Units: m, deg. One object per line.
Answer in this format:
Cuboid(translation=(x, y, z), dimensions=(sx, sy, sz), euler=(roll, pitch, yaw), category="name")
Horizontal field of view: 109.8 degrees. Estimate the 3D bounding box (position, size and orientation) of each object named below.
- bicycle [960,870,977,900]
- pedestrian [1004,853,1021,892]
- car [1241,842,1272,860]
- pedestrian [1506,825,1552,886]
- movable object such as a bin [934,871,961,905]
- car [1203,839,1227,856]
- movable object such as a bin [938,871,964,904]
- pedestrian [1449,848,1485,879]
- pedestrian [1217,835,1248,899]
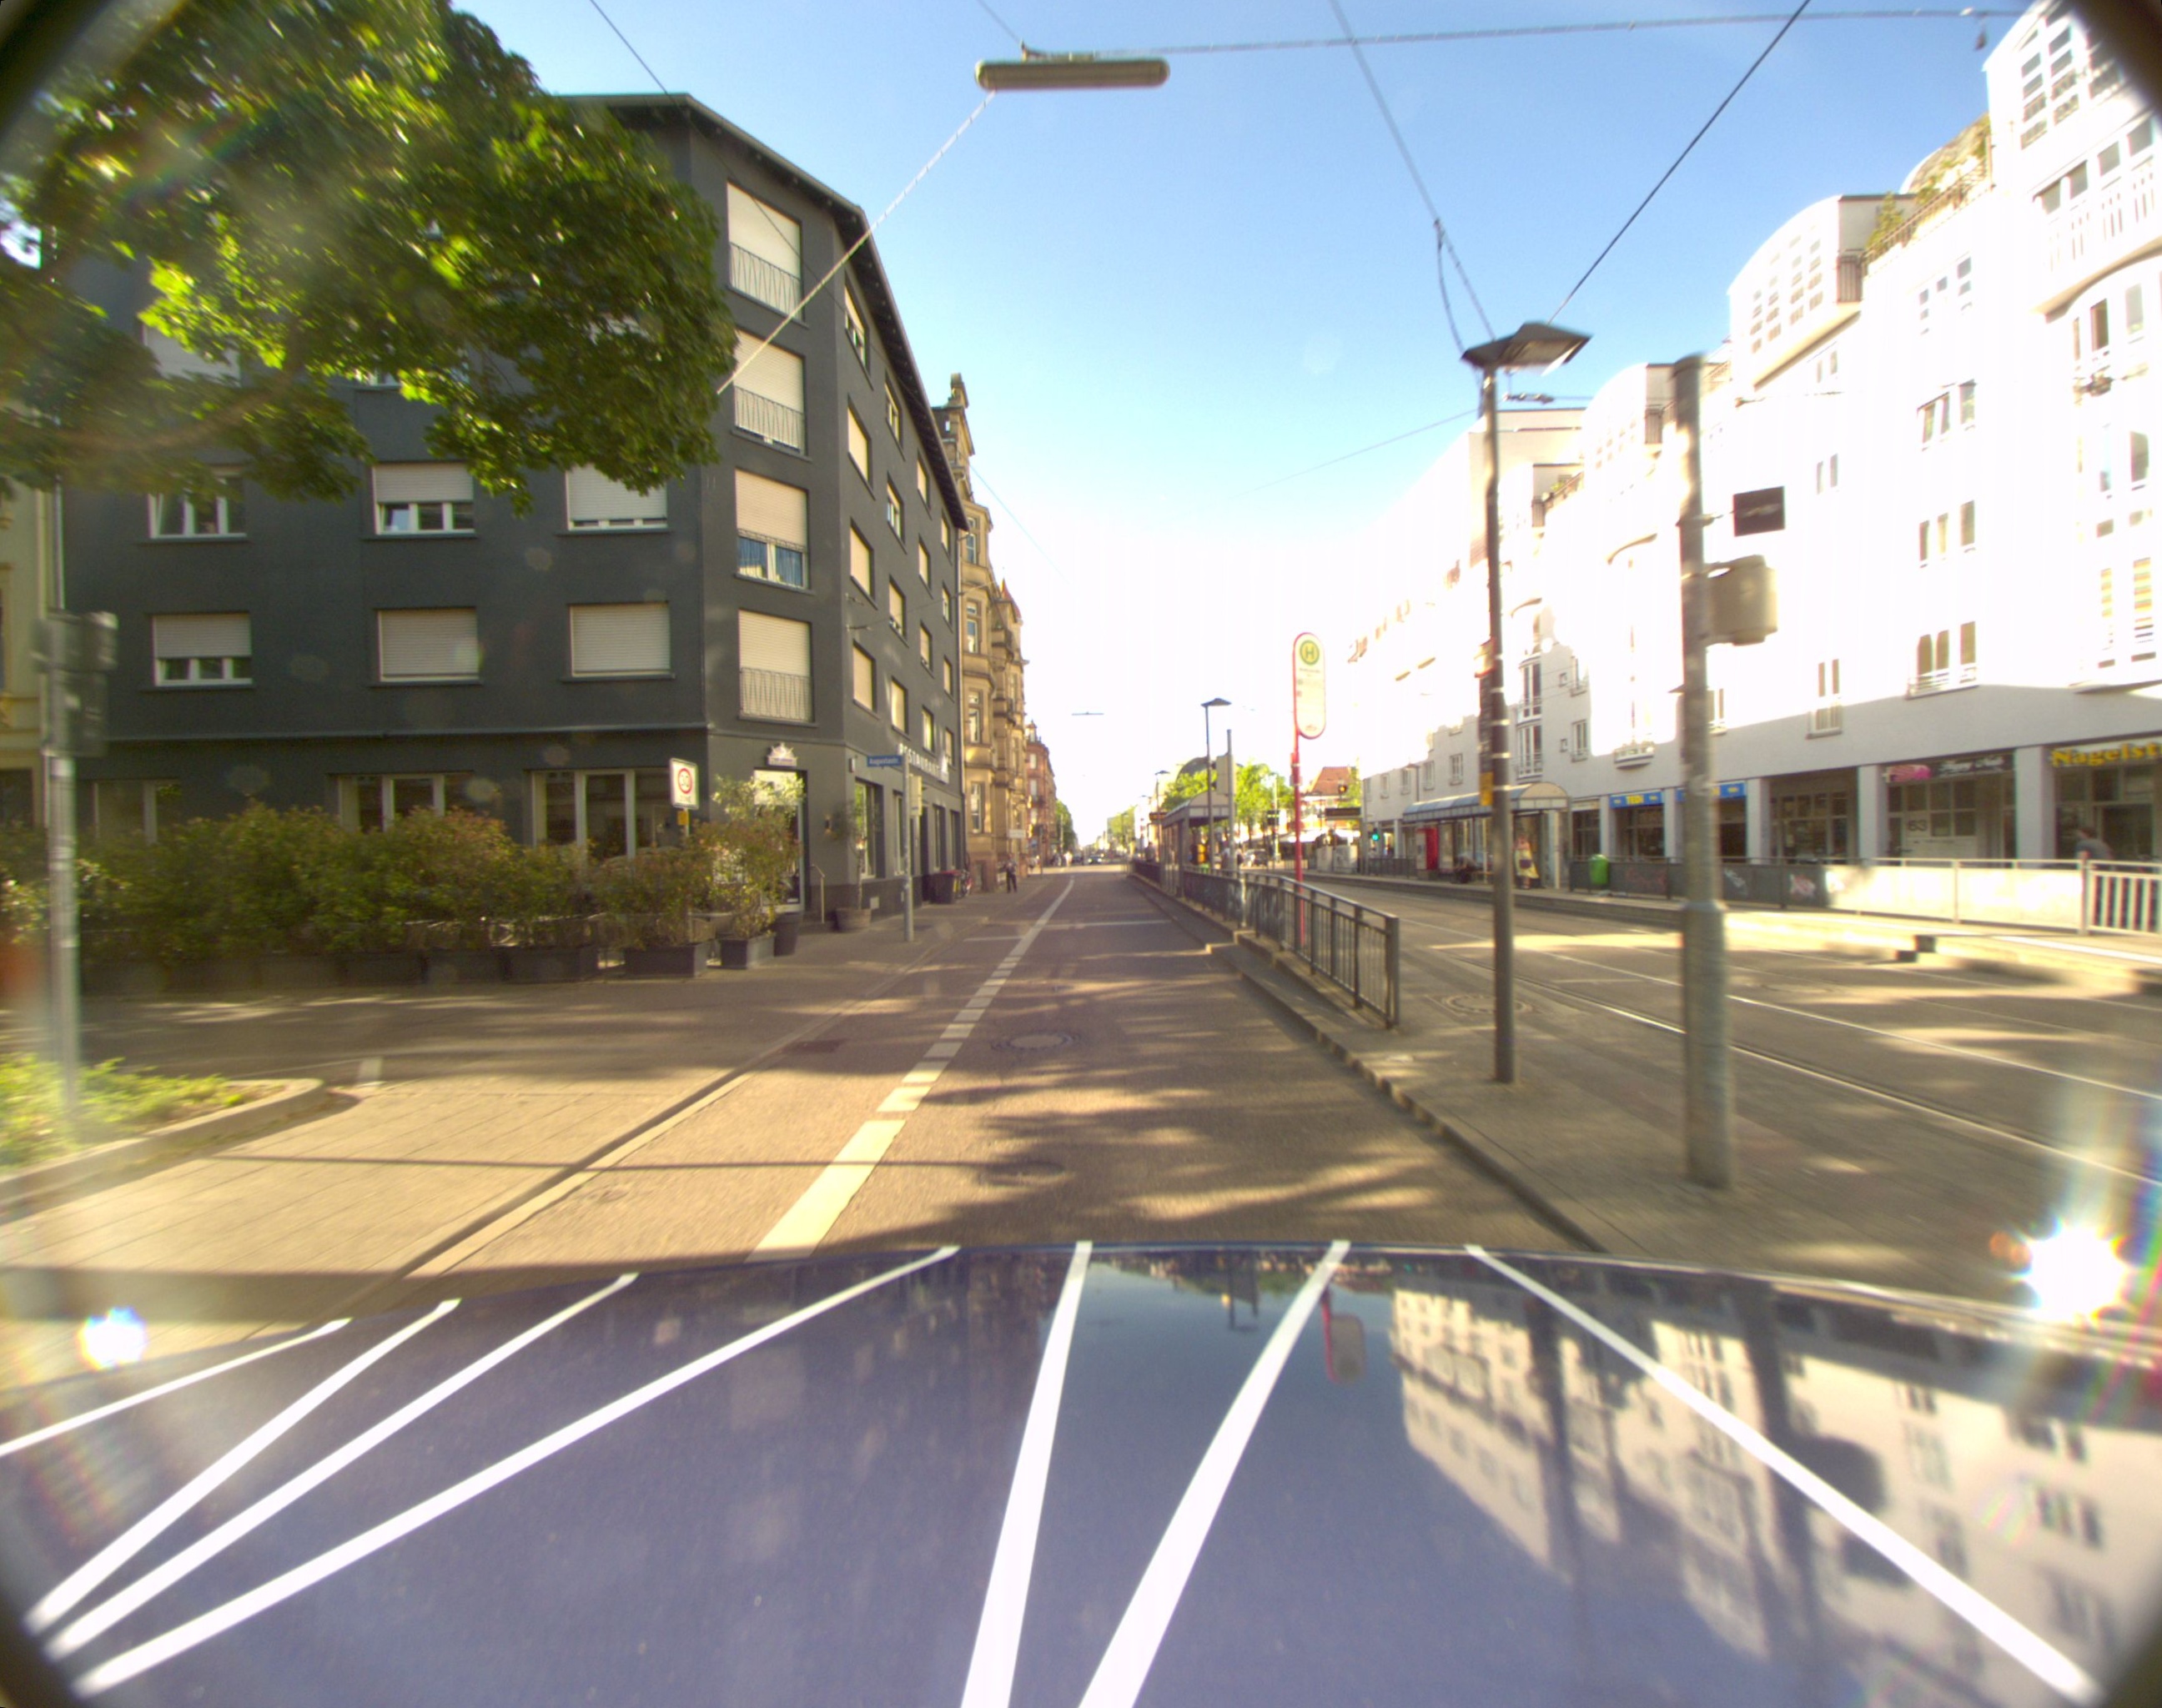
Cuboid(translation=(-4.252, 1.149, 28.770), dimensions=(0.377, 1.052, 1.512), euler=(-2, 0, 1), category="bicycle")
Cuboid(translation=(-3.008, 0.822, 33.423), dimensions=(0.695, 1.680, 0.688), euler=(1, 1, 1), category="pedestrian")
Cuboid(translation=(16.756, -0.315, 72.641), dimensions=(1.998, 1.608, 4.000), euler=(-2, 0, 1), category="car")
Cuboid(translation=(12.335, 0.049, 20.955), dimensions=(0.794, 1.635, 0.747), euler=(-2, 1, 1), category="pedestrian")
Cuboid(translation=(-4.398, 1.127, 25.050), dimensions=(0.717, 1.062, 0.637), euler=(-2, 1, 0), category="movable object such as a bin")
Cuboid(translation=(16.099, -0.797, 91.645), dimensions=(1.999, 1.893, 3.999), euler=(-2, 1, -2), category="car")
Cuboid(translation=(-4.412, 1.131, 25.825), dimensions=(0.717, 1.062, 0.637), euler=(-2, 1, 0), category="movable object such as a bin")
Cuboid(translation=(12.678, 0.319, 24.977), dimensions=(0.794, 0.982, 0.747), euler=(-2, 1, 1), category="pedestrian")
Cuboid(translation=(3.950, 0.328, 19.812), dimensions=(0.716, 1.635, 0.400), euler=(-1, 1, 3), category="pedestrian")
